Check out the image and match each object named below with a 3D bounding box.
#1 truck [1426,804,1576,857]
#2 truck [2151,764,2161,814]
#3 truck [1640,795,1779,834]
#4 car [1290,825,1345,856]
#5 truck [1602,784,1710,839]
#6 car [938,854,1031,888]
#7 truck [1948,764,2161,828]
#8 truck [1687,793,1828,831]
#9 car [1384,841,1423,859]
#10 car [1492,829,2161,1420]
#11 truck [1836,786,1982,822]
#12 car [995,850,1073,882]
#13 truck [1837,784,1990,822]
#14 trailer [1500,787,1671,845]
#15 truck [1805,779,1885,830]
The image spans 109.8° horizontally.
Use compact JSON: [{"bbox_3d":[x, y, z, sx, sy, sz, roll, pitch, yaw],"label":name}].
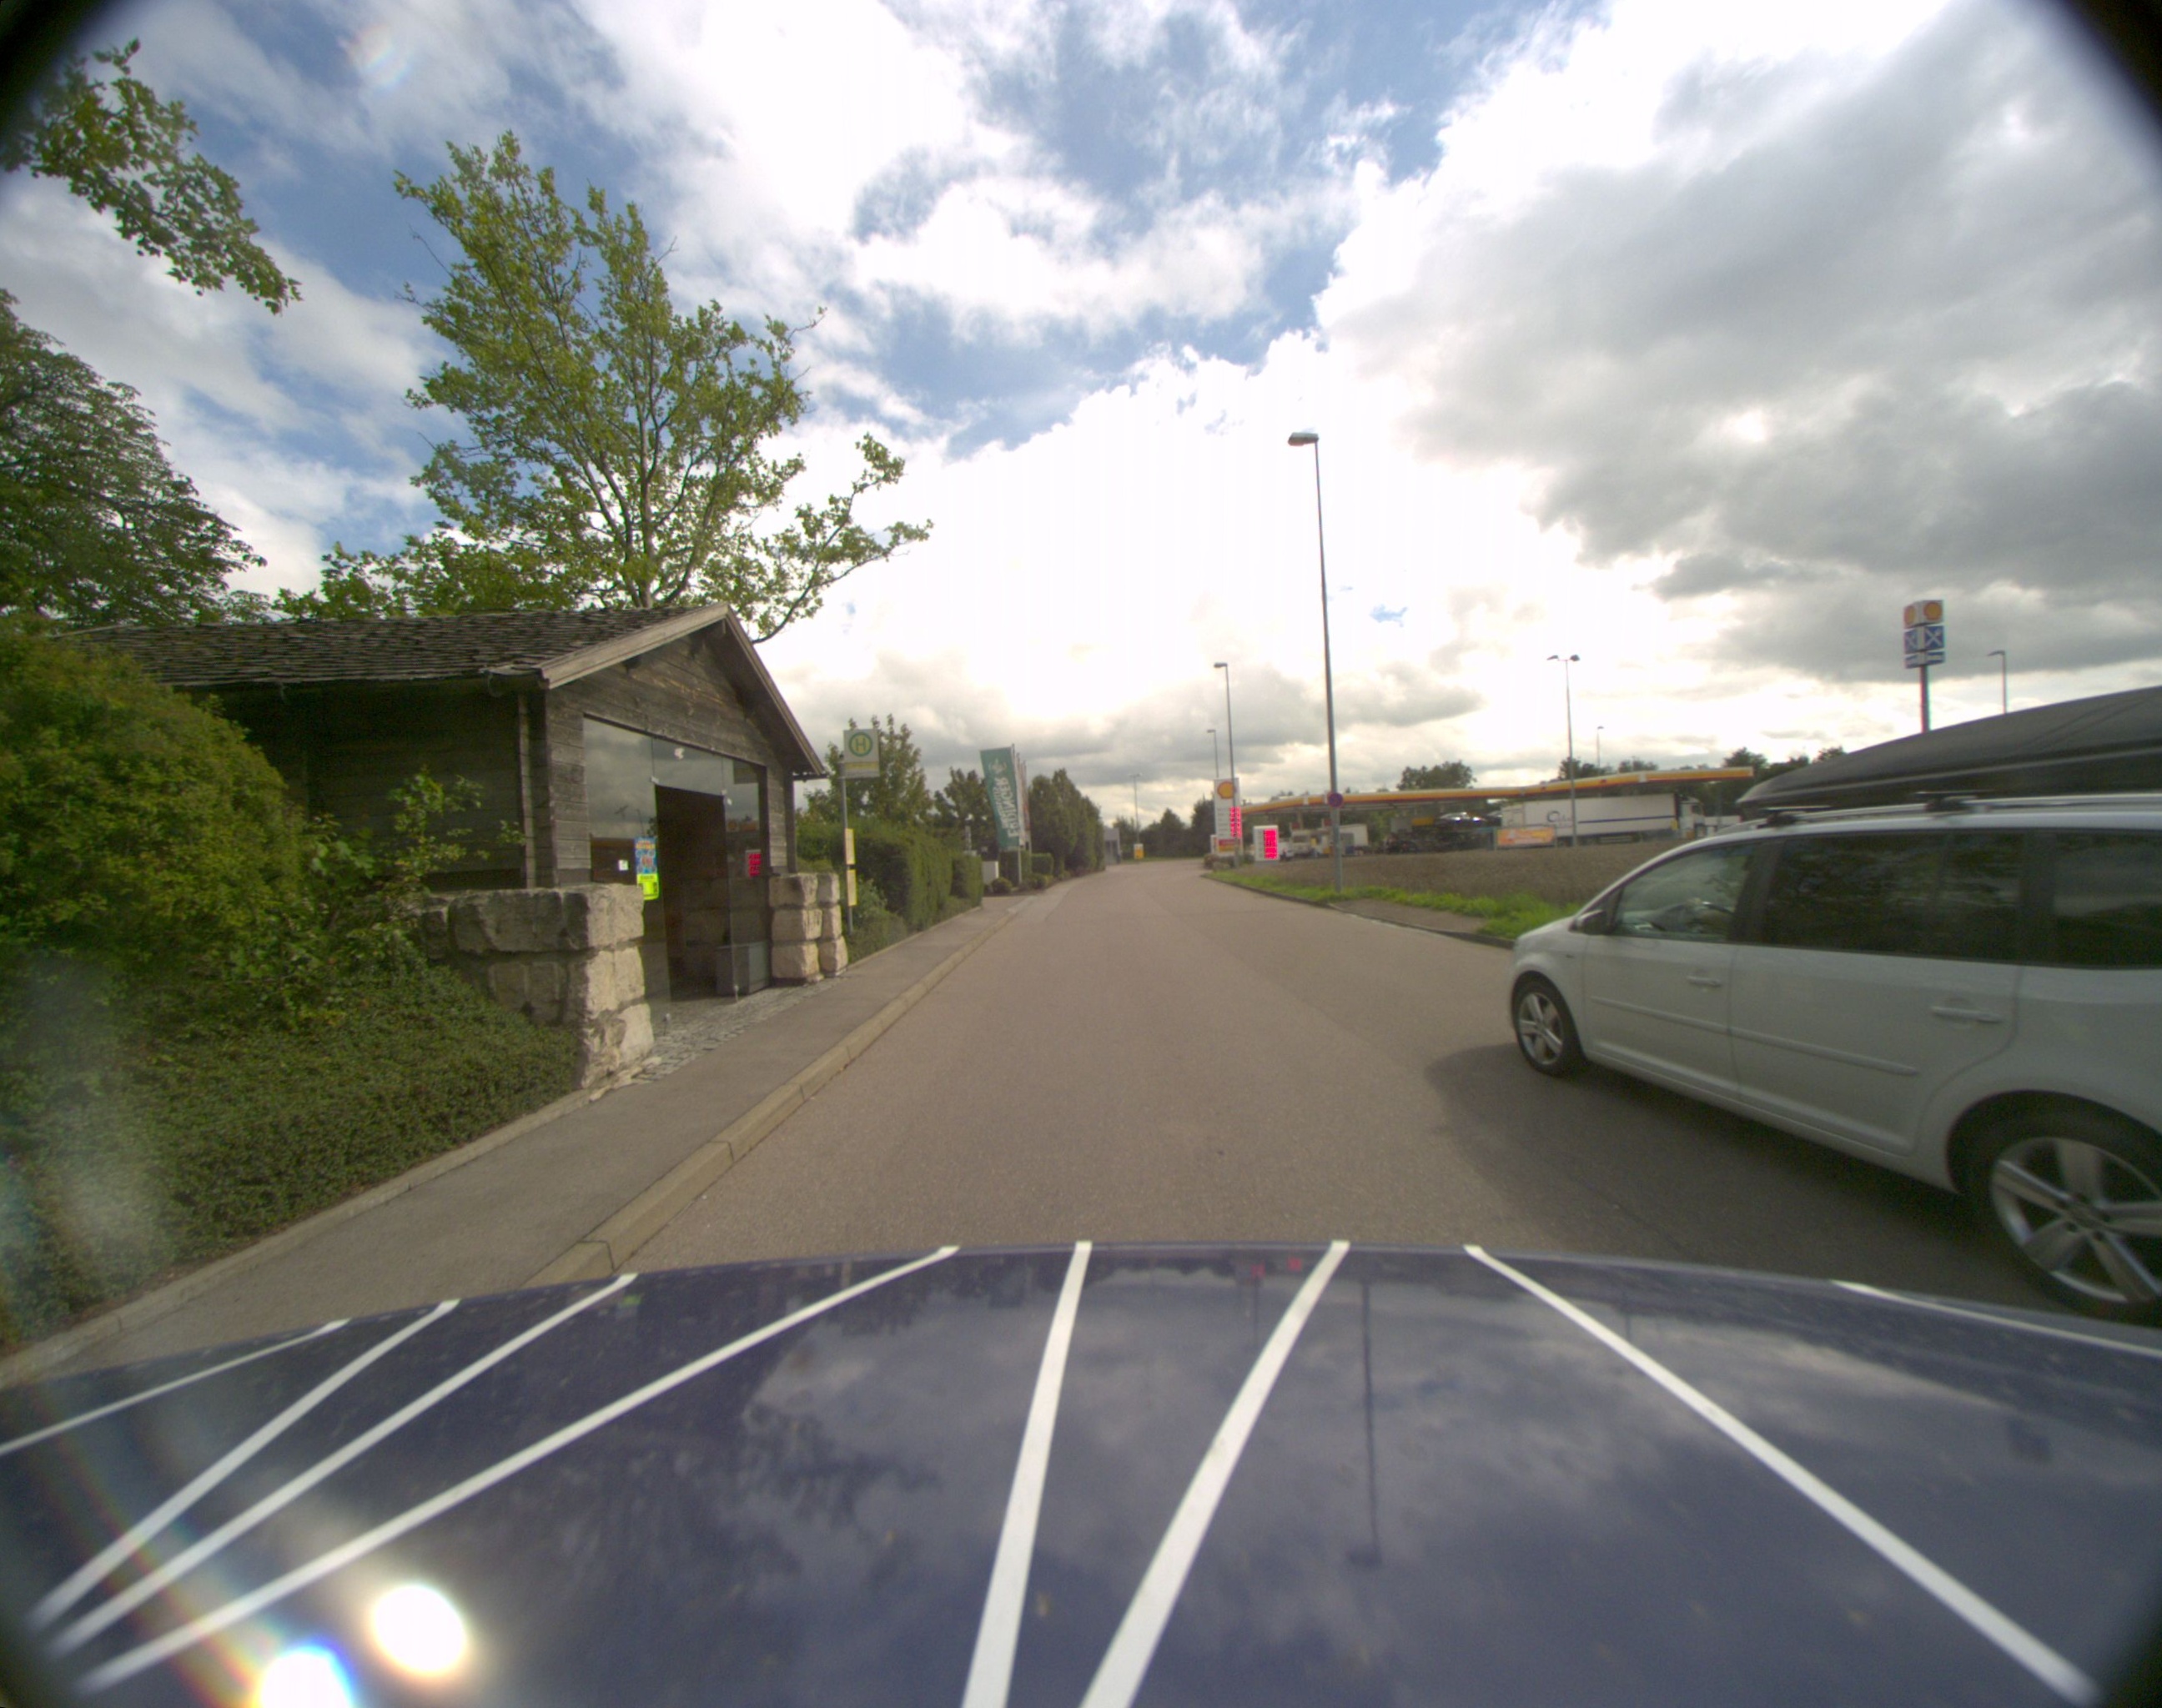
[{"bbox_3d":[36.328,-2.036,65.602,13.265,3.901,2.748,-3,2,-16],"label":"truck"},{"bbox_3d":[91.038,-5.396,58.520,15.457,3.871,2.822,-3,2,-6],"label":"truck"},{"bbox_3d":[76.014,-4.712,92.437,12.774,3.871,2.829,-2,2,36],"label":"truck"},{"bbox_3d":[23.238,-1.357,74.545,5.819,2.770,2.219,-3,0,-40],"label":"car"},{"bbox_3d":[47.078,-3.436,62.284,7.168,4.001,2.711,-3,0,-9],"label":"truck"},{"bbox_3d":[-5.350,0.927,42.319,4.671,1.687,1.920,-2,1,13],"label":"car"},{"bbox_3d":[72.177,-4.267,55.798,15.457,3.871,2.822,-3,2,-6],"label":"truck"},{"bbox_3d":[84.017,-5.125,94.868,12.978,3.871,2.829,-2,2,37],"label":"truck"},{"bbox_3d":[32.364,-0.370,76.301,1.717,1.592,3.757,-3,0,-12],"label":"car"},{"bbox_3d":[3.834,0.743,3.370,1.703,1.655,4.031,-2,0,-2],"label":"car"},{"bbox_3d":[109.732,-6.489,101.089,12.774,3.871,2.829,-2,2,36],"label":"truck"},{"bbox_3d":[-2.844,0.748,46.349,4.357,1.706,1.658,-3,0,9],"label":"car"},{"bbox_3d":[105.900,-6.448,97.103,12.774,3.871,2.829,-2,2,36],"label":"truck"},{"bbox_3d":[40.674,-3.051,61.306,12.847,4.001,2.711,-3,0,-9],"label":"trailer"},{"bbox_3d":[69.839,-4.502,69.800,2.955,4.089,14.774,-2,2,37],"label":"truck"}]
